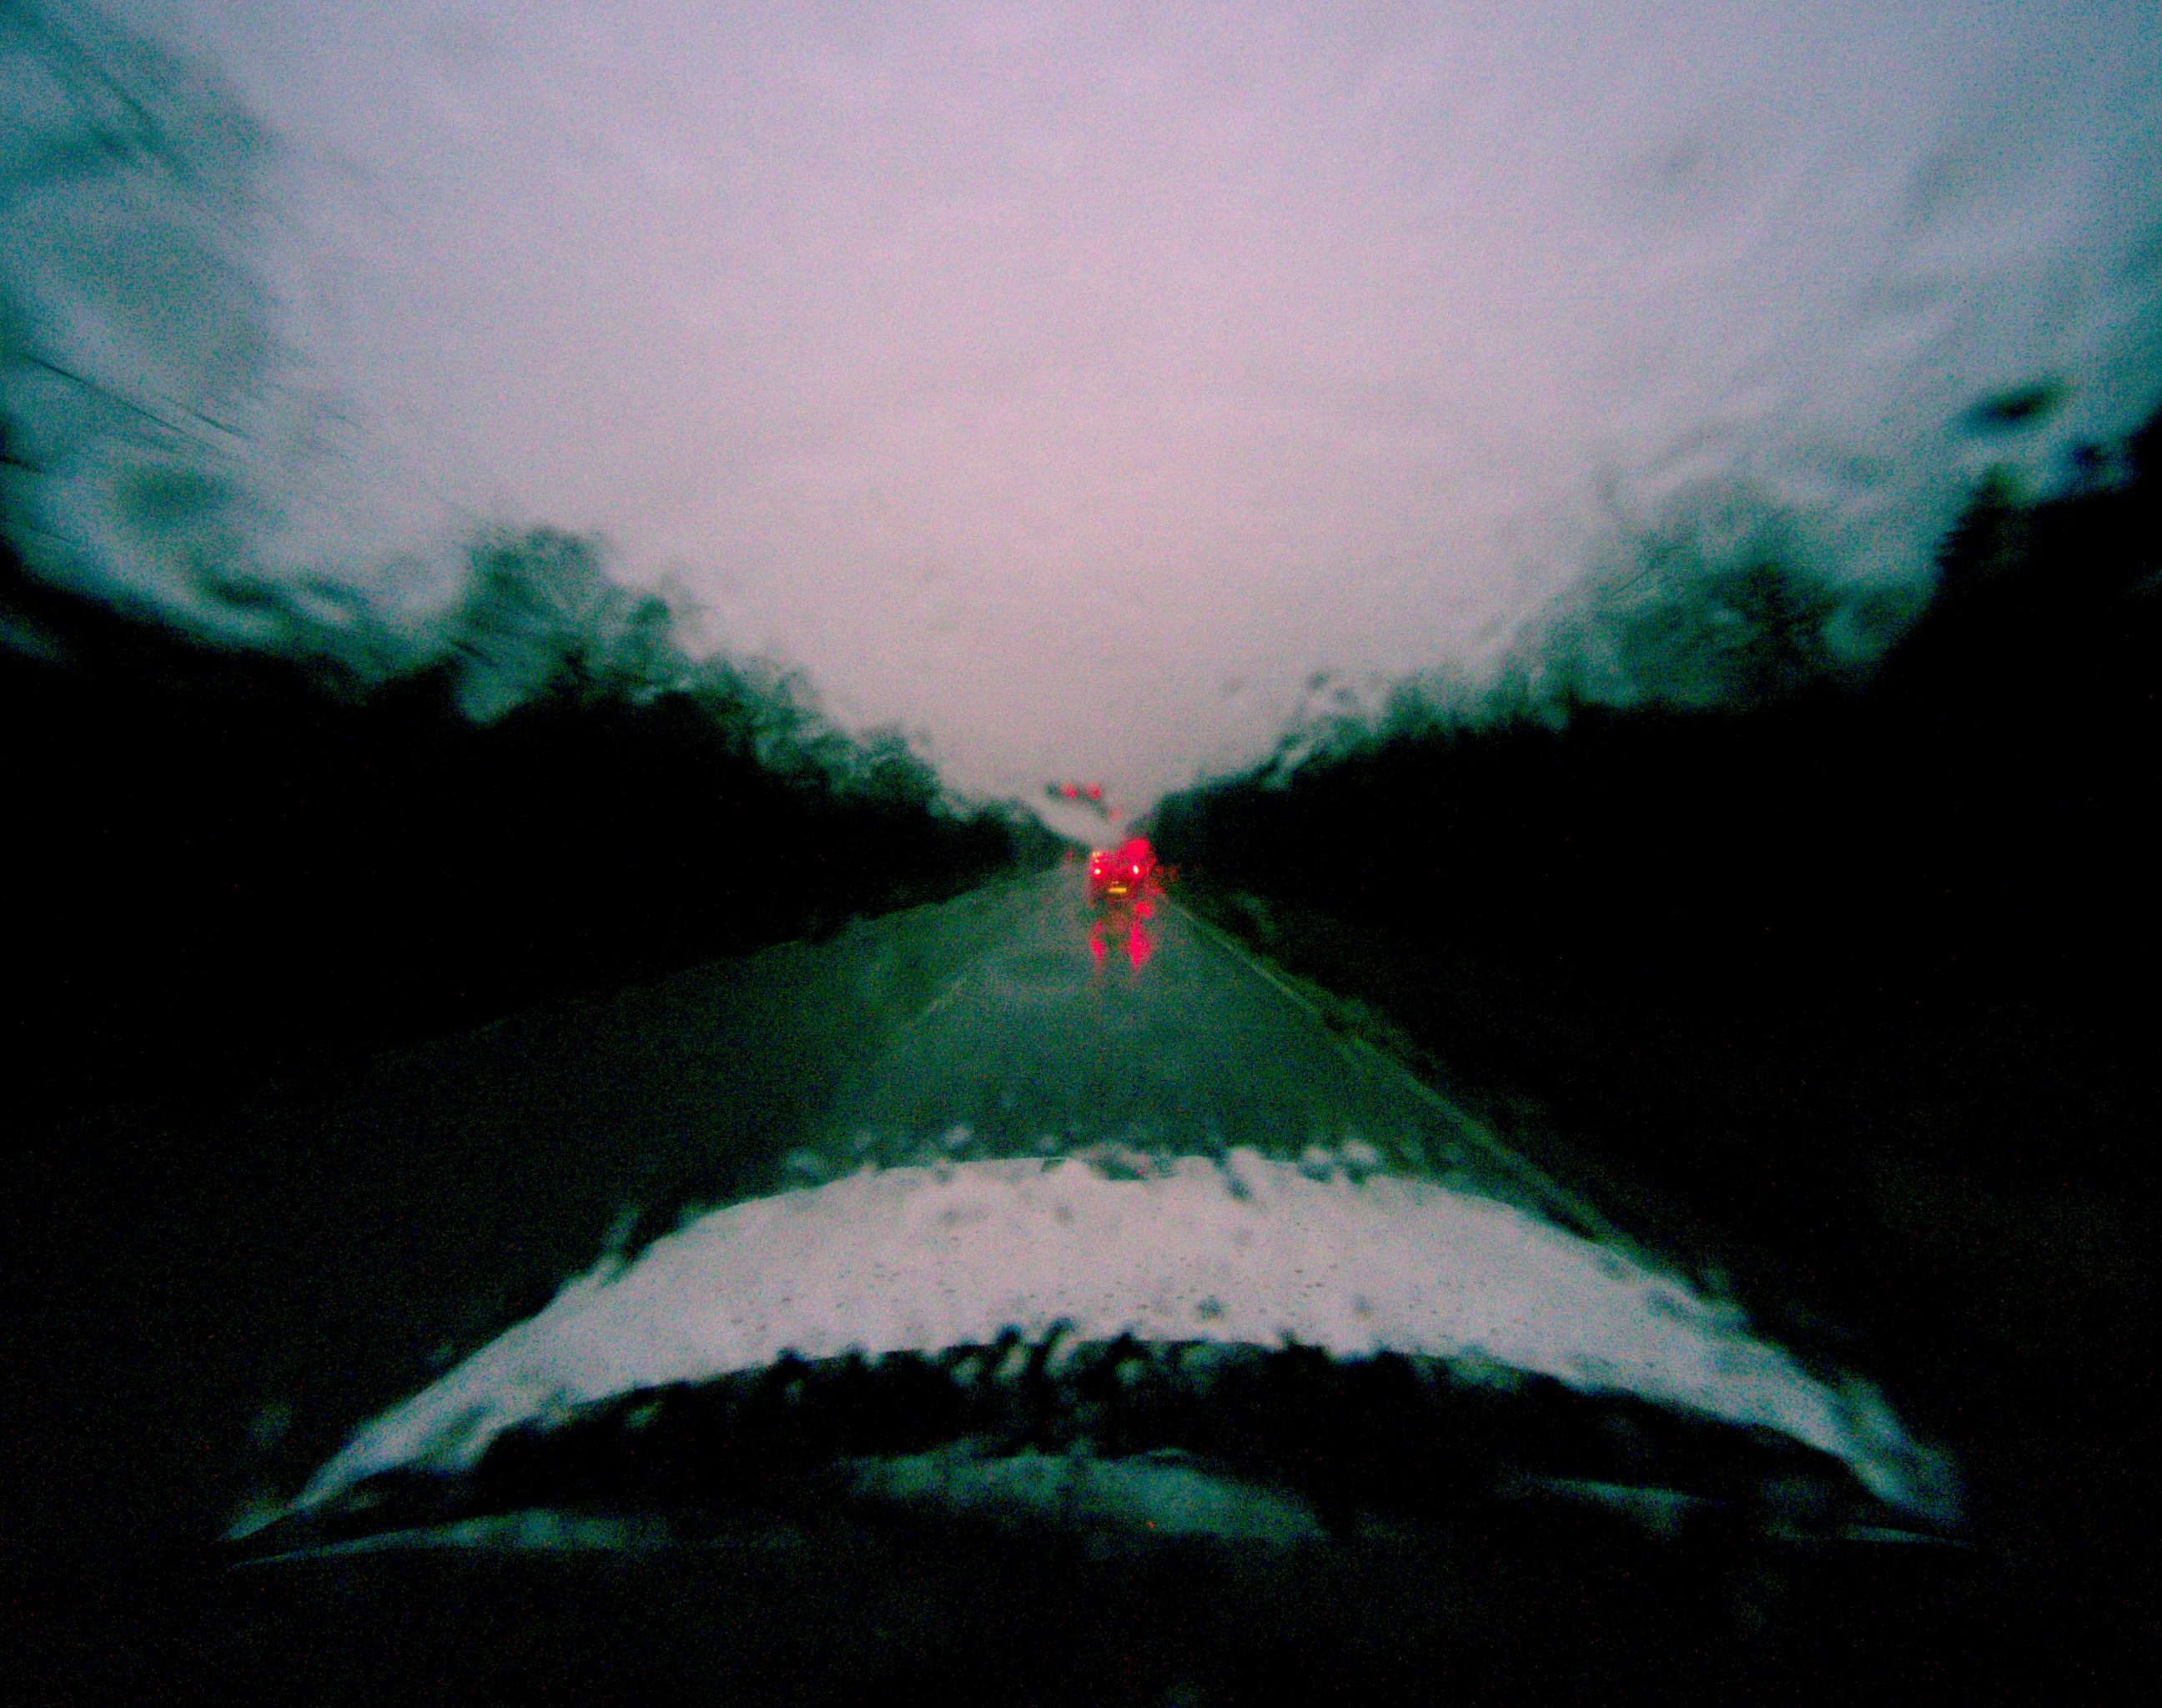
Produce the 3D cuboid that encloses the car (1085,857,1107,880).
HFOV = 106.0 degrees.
[{"bbox_3d":[1.203,1.154,66.029,1.727,1.779,4.001,0,0,1],"label":"car"}]

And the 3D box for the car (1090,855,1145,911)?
[{"bbox_3d":[1.140,0.874,26.011,1.642,1.672,3.515,0,0,2],"label":"car"}]
